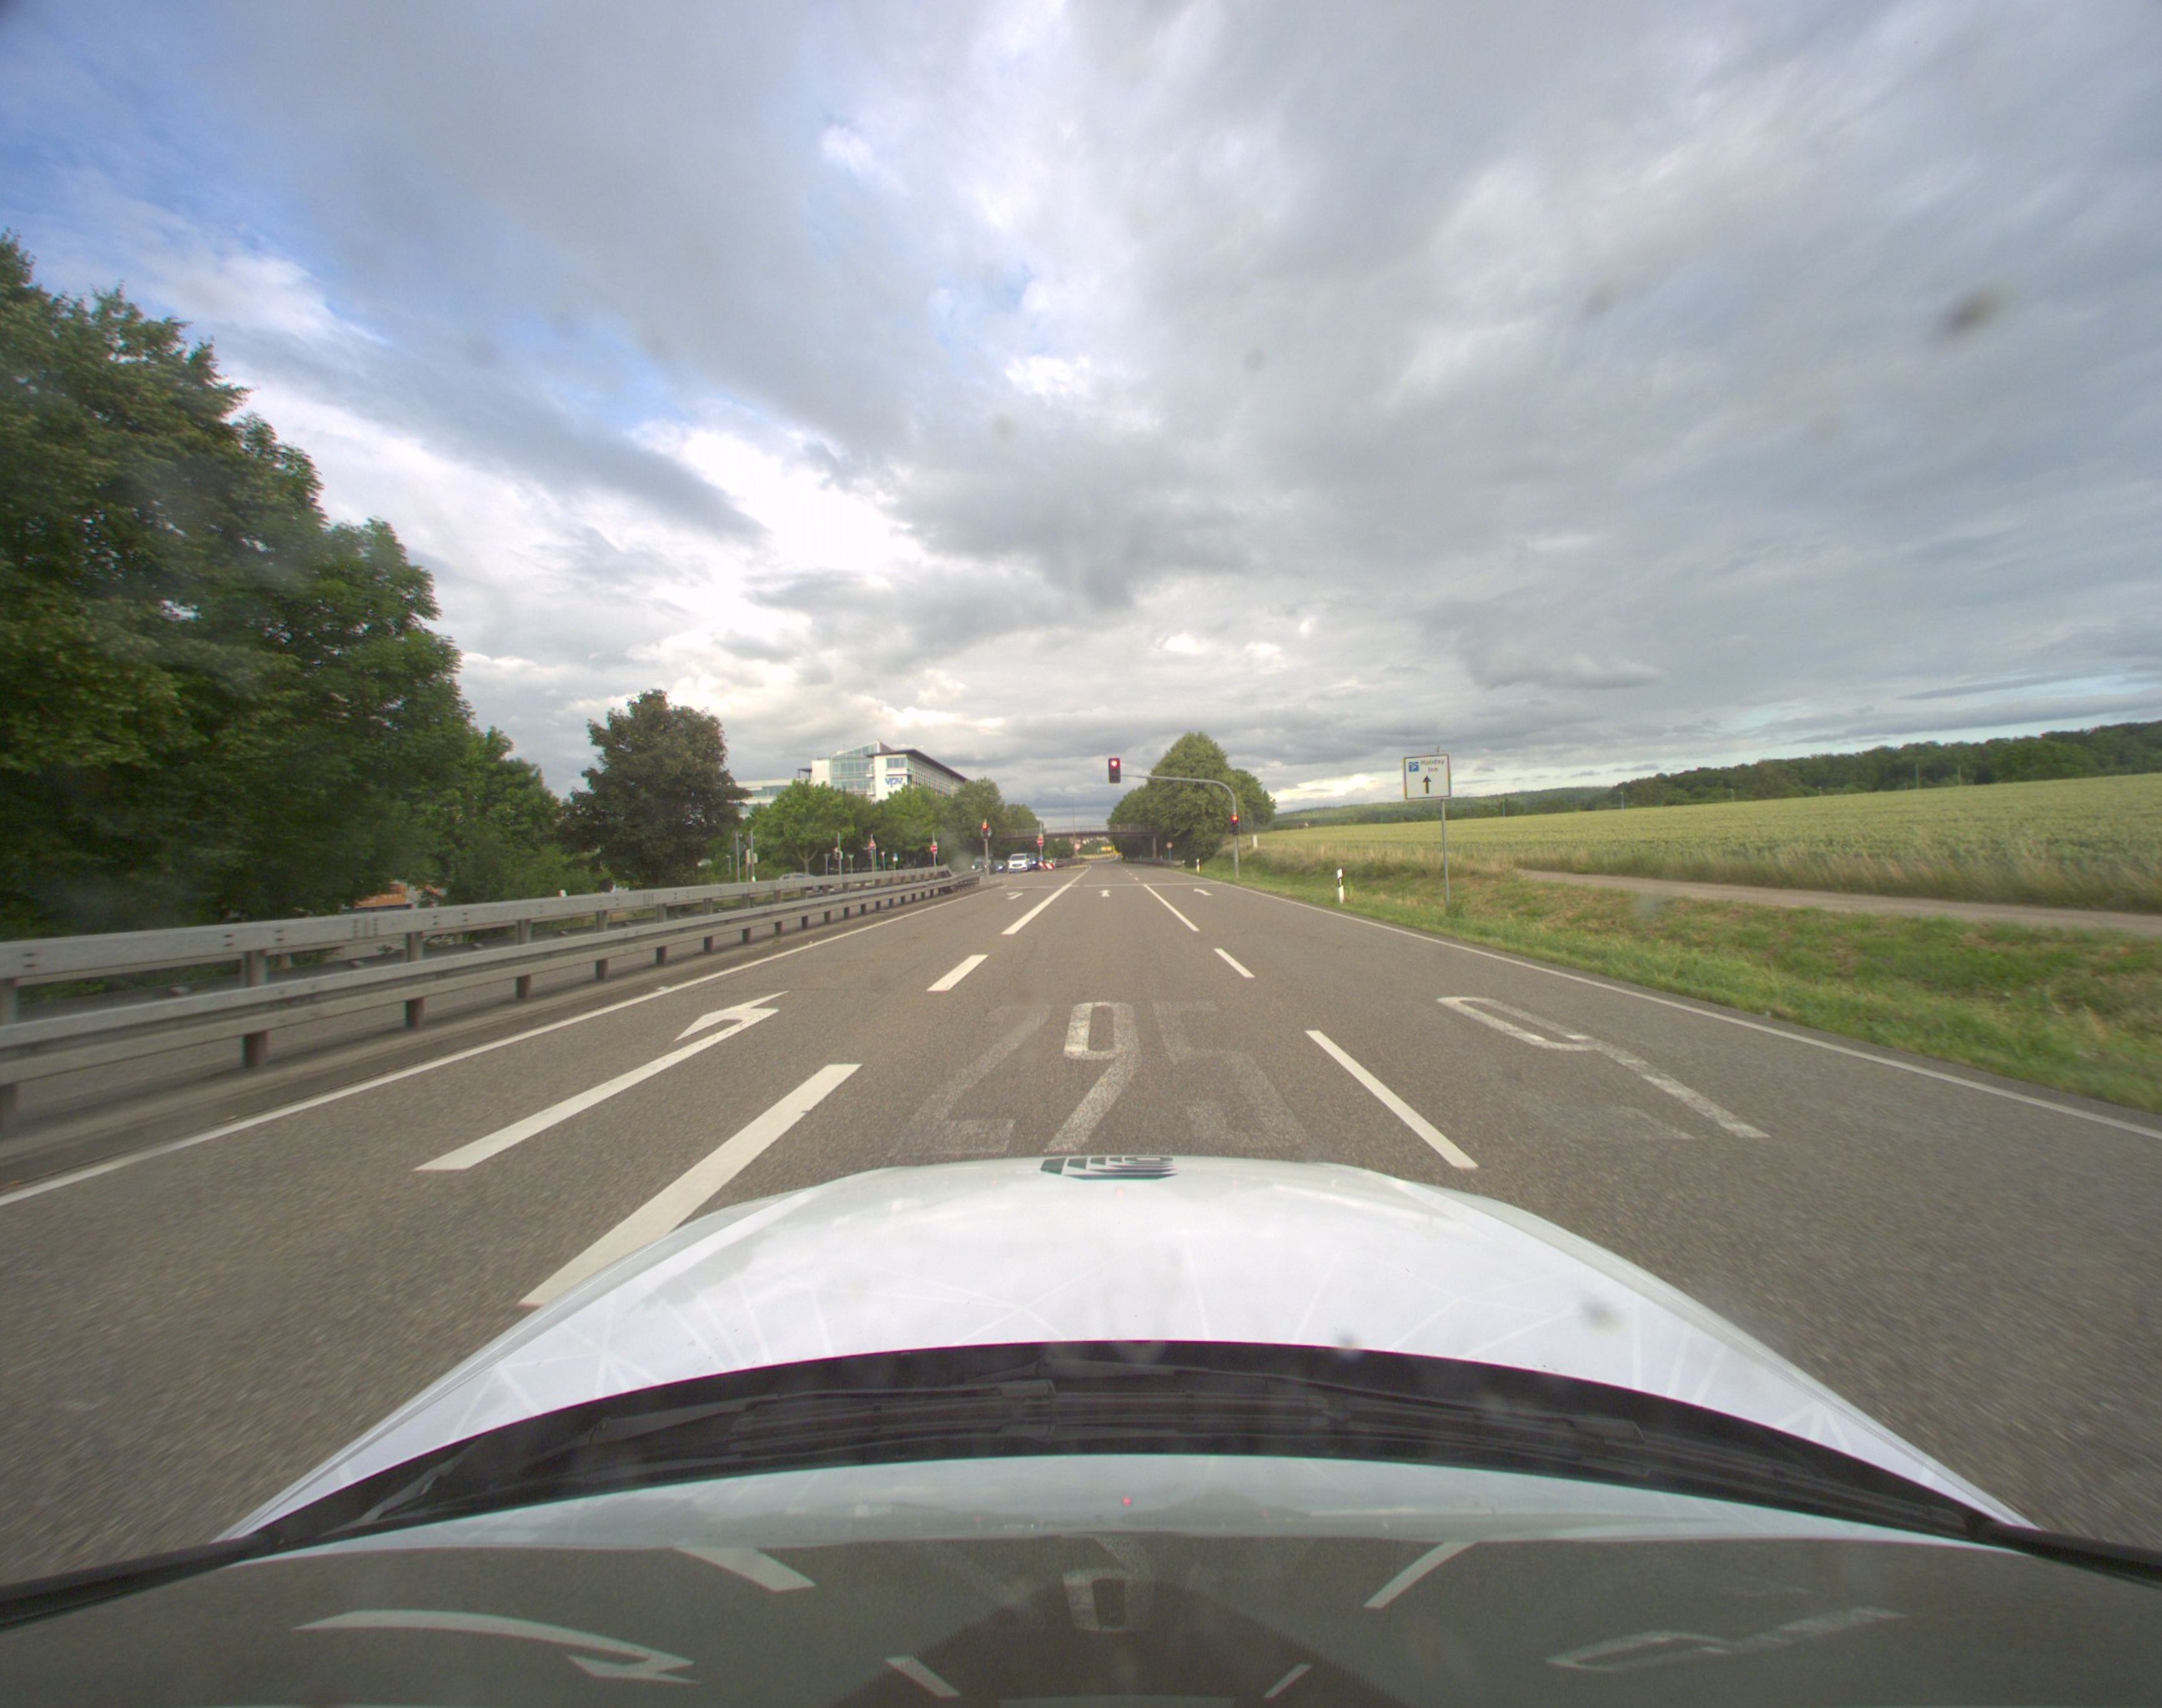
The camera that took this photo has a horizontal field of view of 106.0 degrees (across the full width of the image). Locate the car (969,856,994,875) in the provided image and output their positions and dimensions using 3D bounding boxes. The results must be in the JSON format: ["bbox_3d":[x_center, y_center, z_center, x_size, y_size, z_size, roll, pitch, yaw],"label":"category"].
[{"bbox_3d":[-10.055,1.131,82.524,1.862,1.754,4.051,-2,0,2],"label":"car"}]

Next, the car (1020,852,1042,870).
[{"bbox_3d":[-5.603,0.770,91.220,1.986,1.873,4.739,-2,0,2],"label":"car"}]

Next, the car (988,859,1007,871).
[{"bbox_3d":[-9.178,1.187,89.785,1.607,1.178,3.459,-2,1,2],"label":"car"}]

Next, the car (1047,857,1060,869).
[{"bbox_3d":[-3.117,0.974,92.402,1.308,1.229,2.922,-2,0,1],"label":"car"}]

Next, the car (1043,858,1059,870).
[{"bbox_3d":[-2.970,1.014,80.492,1.352,1.092,2.924,-2,0,3],"label":"car"}]

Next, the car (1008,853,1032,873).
[{"bbox_3d":[-6.158,0.864,82.639,1.941,1.873,4.739,-2,0,2],"label":"car"}]

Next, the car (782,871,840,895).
[{"bbox_3d":[-19.640,2.096,59.332,3.712,1.539,1.727,-2,0,-11],"label":"car"}]
